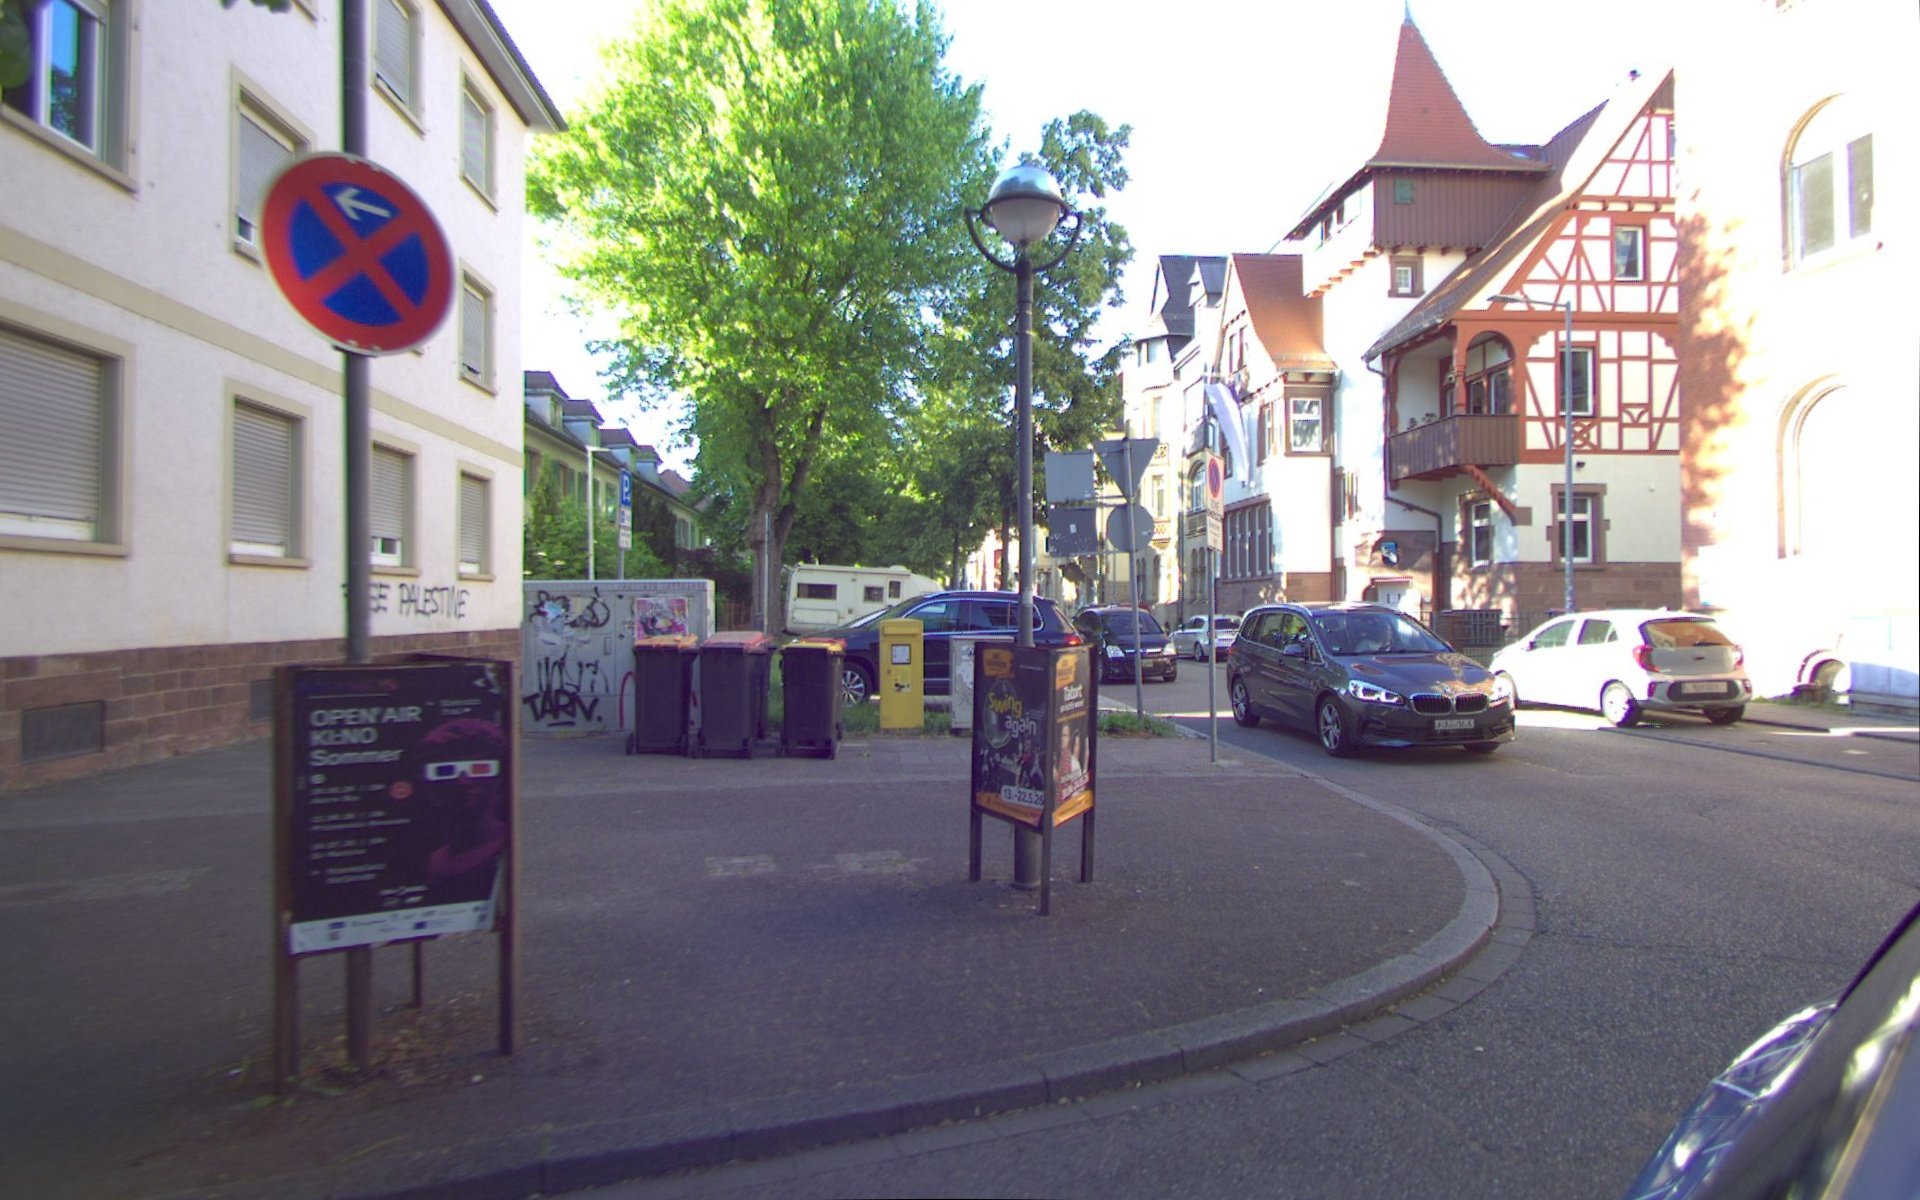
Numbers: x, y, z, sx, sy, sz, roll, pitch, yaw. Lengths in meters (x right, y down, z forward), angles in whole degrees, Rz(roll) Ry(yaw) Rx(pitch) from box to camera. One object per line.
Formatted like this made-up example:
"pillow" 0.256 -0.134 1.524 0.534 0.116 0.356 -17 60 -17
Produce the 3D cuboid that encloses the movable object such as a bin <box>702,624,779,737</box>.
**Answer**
"movable object such as a bin" -2.366 0.851 10.980 0.725 1.167 0.702 0 -1 -4

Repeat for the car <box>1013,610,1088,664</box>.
"car" 3.087 1.237 35.478 1.960 1.777 4.003 0 0 -4

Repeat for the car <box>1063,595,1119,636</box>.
"car" 6.372 0.731 49.603 1.740 1.875 4.545 -1 0 -5

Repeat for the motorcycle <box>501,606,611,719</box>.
"motorcycle" -5.027 0.727 12.764 0.958 1.296 2.186 0 -1 -13

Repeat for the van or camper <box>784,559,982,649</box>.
"van or camper" -2.821 0.139 36.802 6.955 3.117 2.467 0 -1 -7

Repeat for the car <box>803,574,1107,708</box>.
"car" -0.168 0.579 14.386 4.035 1.735 2.027 1 -1 -9

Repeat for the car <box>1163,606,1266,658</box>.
"car" 7.836 0.948 31.573 1.714 1.485 4.108 -1 0 -7

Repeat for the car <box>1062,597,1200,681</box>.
"car" 3.672 0.806 22.548 1.960 1.613 4.265 -2 -1 -5

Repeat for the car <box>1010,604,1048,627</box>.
"car" 4.822 1.062 71.395 1.869 1.457 4.545 -4 0 -5

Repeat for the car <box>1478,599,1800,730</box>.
"car" 9.207 0.783 14.164 1.677 1.504 3.800 -2 0 -5

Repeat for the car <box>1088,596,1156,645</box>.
"car" 6.775 0.827 42.725 1.768 1.931 4.328 -2 0 -5

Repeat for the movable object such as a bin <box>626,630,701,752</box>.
"movable object such as a bin" -2.821 0.849 9.680 0.581 1.097 0.674 0 -1 -5

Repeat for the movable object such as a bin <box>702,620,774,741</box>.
"movable object such as a bin" -2.238 0.791 10.268 0.621 1.167 0.702 0 -1 -4

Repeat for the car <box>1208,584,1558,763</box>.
"car" 4.629 0.712 11.982 1.887 1.626 4.520 -3 0 -4

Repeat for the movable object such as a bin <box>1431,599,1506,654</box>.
"movable object such as a bin" 12.526 0.652 24.958 1.356 1.315 0.967 -1 -1 5

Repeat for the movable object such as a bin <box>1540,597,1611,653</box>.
"movable object such as a bin" 15.224 0.618 25.036 1.355 1.334 0.688 -1 -1 -11

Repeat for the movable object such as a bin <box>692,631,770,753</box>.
"movable object such as a bin" -2.147 0.843 9.548 0.618 1.089 0.706 0 -1 -4

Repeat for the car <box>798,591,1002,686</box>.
"car" -1.087 0.688 18.954 3.634 1.672 1.704 0 -1 -1

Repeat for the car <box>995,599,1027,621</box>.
"car" 3.873 0.767 77.496 1.661 1.484 3.778 -4 0 -7

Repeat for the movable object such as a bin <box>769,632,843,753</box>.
"movable object such as a bin" -1.449 0.856 9.606 0.646 1.078 0.695 0 -1 -4

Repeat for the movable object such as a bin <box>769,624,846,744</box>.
"movable object such as a bin" -1.547 0.834 10.357 0.725 1.167 0.702 0 -1 -4

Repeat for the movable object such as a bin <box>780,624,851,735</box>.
"movable object such as a bin" -1.576 0.852 11.114 0.725 1.167 0.716 0 -1 -4

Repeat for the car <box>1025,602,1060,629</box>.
"car" 5.087 0.963 62.655 1.656 1.528 2.863 -4 0 -5
